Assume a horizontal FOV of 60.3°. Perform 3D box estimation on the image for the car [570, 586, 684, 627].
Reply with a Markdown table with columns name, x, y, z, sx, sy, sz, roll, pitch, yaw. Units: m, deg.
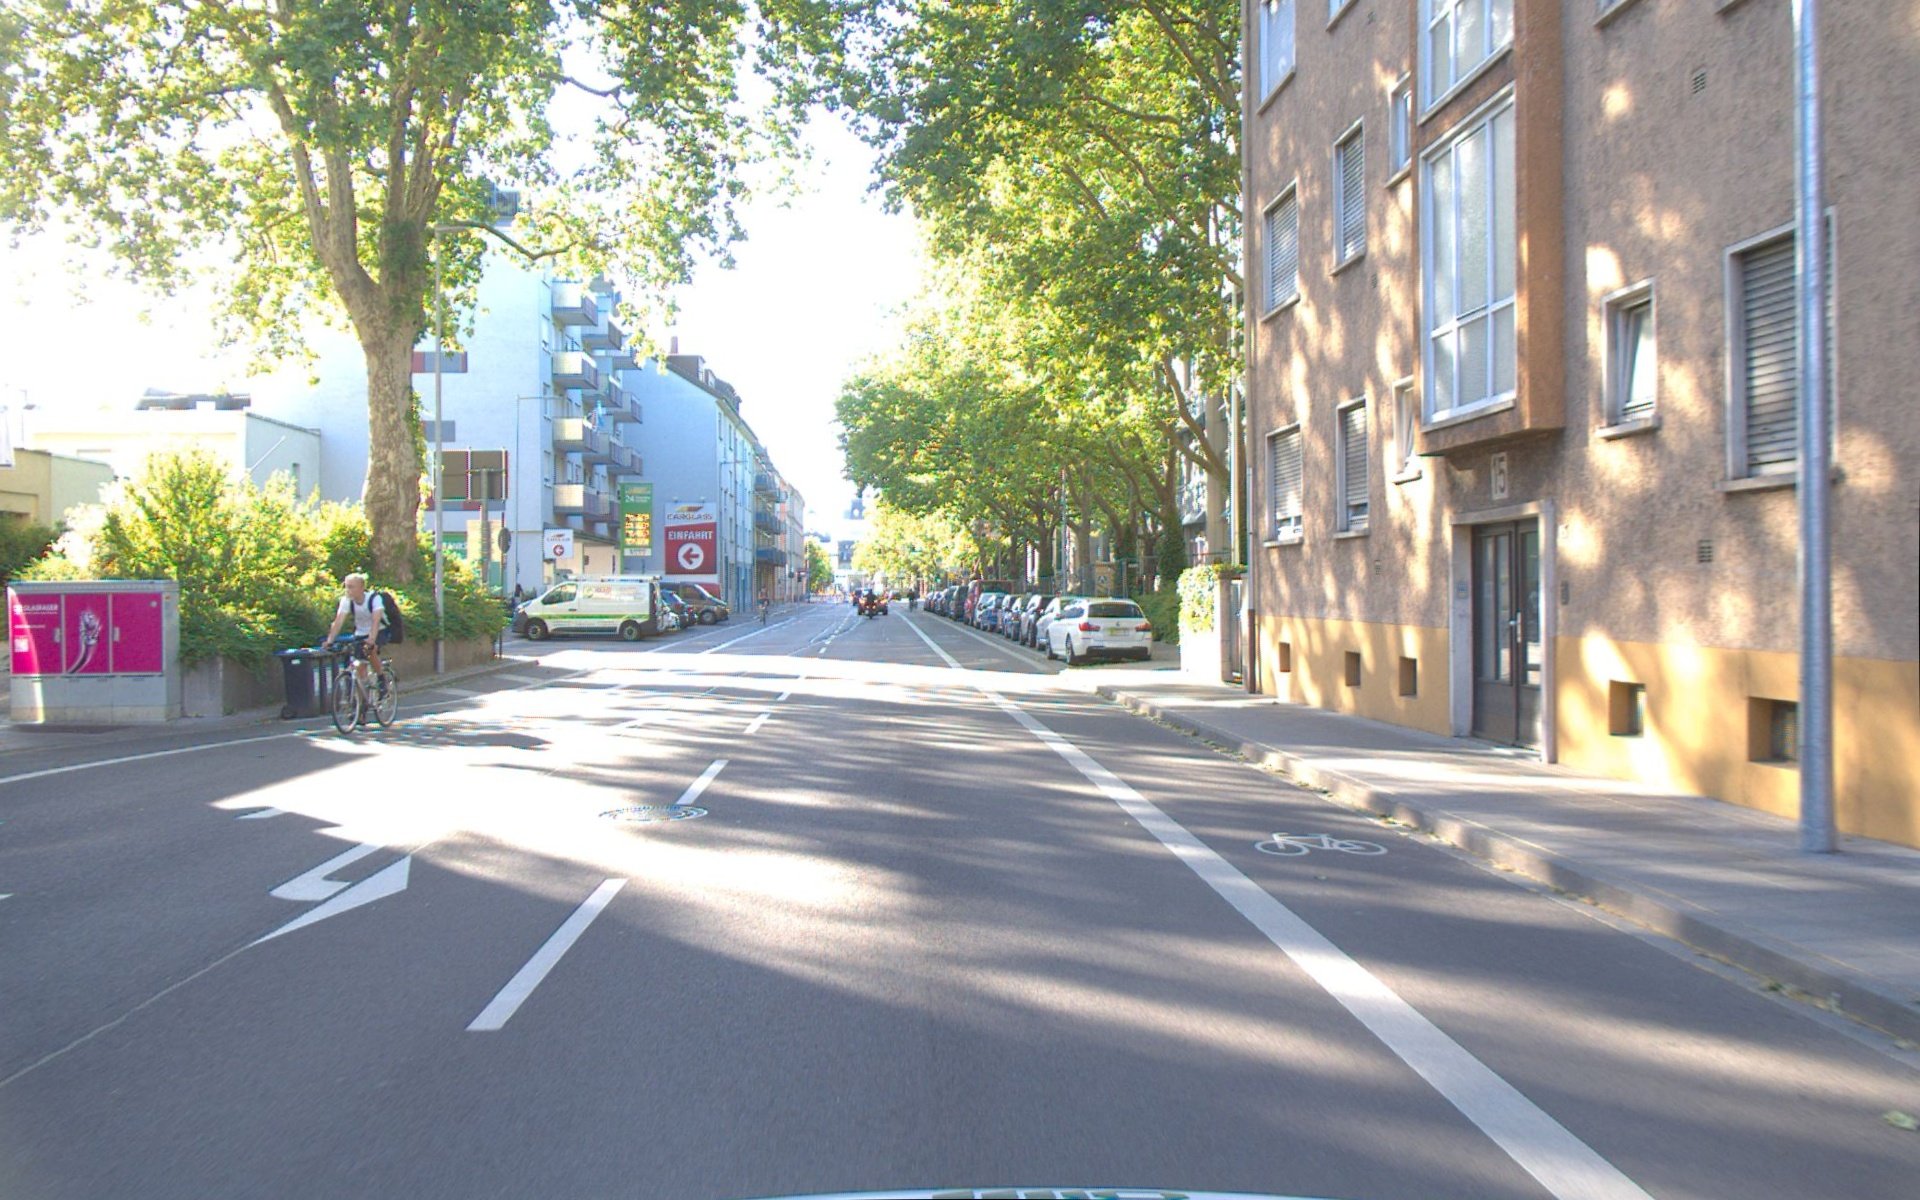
| name | x | y | z | sx | sy | sz | roll | pitch | yaw |
| --- | --- | --- | --- | --- | --- | --- | --- | --- | --- |
| car | -12.345 | 0.226 | 61.440 | 3.908 | 1.458 | 1.852 | 1 | 0 | -4 |

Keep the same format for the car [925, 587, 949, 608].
| name | x | y | z | sx | sy | sz | roll | pitch | yaw |
| --- | --- | --- | --- | --- | --- | --- | --- | --- | --- |
| car | -1.713 | -0.221 | 122.778 | 1.659 | 1.492 | 4.063 | 2 | 0 | -2 |

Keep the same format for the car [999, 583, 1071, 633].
| name | x | y | z | sx | sy | sz | roll | pitch | yaw |
| --- | --- | --- | --- | --- | --- | --- | --- | --- | --- |
| car | 2.445 | 0.240 | 55.039 | 1.818 | 1.549 | 4.595 | 1 | 0 | -4 |

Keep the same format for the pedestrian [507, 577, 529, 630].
| name | x | y | z | sx | sy | sz | roll | pitch | yaw |
| --- | --- | --- | --- | --- | --- | --- | --- | --- | --- |
| pedestrian | -15.322 | 0.107 | 57.343 | 0.619 | 1.820 | 0.722 | 0 | 1 | -4 |

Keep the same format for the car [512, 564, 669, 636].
| name | x | y | z | sx | sy | sz | roll | pitch | yaw |
| --- | --- | --- | --- | --- | --- | --- | --- | --- | --- |
| car | -12.167 | -0.003 | 54.742 | 4.748 | 2.255 | 2.138 | 1 | 0 | -4 |

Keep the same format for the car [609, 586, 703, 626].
| name | x | y | z | sx | sy | sz | roll | pitch | yaw |
| --- | --- | --- | --- | --- | --- | --- | --- | --- | --- |
| car | -12.680 | 0.243 | 69.077 | 3.612 | 1.540 | 1.829 | 2 | 0 | -4 |

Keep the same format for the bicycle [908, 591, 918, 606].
| name | x | y | z | sx | sy | sz | roll | pitch | yaw |
| --- | --- | --- | --- | --- | --- | --- | --- | --- | --- |
| bicycle | -3.459 | -0.077 | 121.771 | 0.643 | 1.089 | 1.925 | 1 | 0 | -4 |

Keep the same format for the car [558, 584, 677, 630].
| name | x | y | z | sx | sy | sz | roll | pitch | yaw |
| --- | --- | --- | --- | --- | --- | --- | --- | --- | --- |
| car | -12.249 | 0.234 | 59.317 | 3.908 | 1.586 | 1.852 | 1 | 1 | -4 |

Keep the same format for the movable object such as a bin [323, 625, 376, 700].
| name | x | y | z | sx | sy | sz | roll | pitch | yaw |
| --- | --- | --- | --- | --- | --- | --- | --- | --- | --- |
| movable object such as a bin | -9.189 | 0.929 | 24.912 | 0.582 | 1.090 | 0.644 | -1 | 0 | -3 |

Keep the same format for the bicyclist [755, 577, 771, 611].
| name | x | y | z | sx | sy | sz | roll | pitch | yaw |
| --- | --- | --- | --- | --- | --- | --- | --- | --- | --- |
| bicyclist | -9.117 | -0.286 | 76.487 | 0.595 | 1.571 | 0.933 | -2 | 1 | -4 |

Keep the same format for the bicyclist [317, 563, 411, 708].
| name | x | y | z | sx | sy | sz | roll | pitch | yaw |
| --- | --- | --- | --- | --- | --- | --- | --- | --- | --- |
| bicyclist | -7.096 | 0.411 | 19.745 | 0.714 | 1.670 | 1.167 | -1 | 0 | -2 |

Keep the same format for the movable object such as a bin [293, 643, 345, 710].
| name | x | y | z | sx | sy | sz | roll | pitch | yaw |
| --- | --- | --- | --- | --- | --- | --- | --- | --- | --- |
| movable object such as a bin | -9.153 | 1.085 | 23.627 | 0.530 | 0.917 | 0.559 | -1 | 0 | -3 |

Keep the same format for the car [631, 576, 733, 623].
| name | x | y | z | sx | sy | sz | roll | pitch | yaw |
| --- | --- | --- | --- | --- | --- | --- | --- | --- | --- |
| car | -12.925 | -0.017 | 77.104 | 4.433 | 1.986 | 2.055 | 2 | 0 | -4 |

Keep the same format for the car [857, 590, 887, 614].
| name | x | y | z | sx | sy | sz | roll | pitch | yaw |
| --- | --- | --- | --- | --- | --- | --- | --- | --- | --- |
| car | -5.415 | 0.116 | 101.577 | 1.792 | 1.445 | 3.812 | 0 | 0 | -4 |

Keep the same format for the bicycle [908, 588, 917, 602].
| name | x | y | z | sx | sy | sz | roll | pitch | yaw |
| --- | --- | --- | --- | --- | --- | --- | --- | --- | --- |
| bicycle | -3.712 | -0.384 | 129.722 | 0.643 | 1.131 | 2.184 | 1 | 0 | -4 |

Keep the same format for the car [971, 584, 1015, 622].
| name | x | y | z | sx | sy | sz | roll | pitch | yaw |
| --- | --- | --- | --- | --- | --- | --- | --- | --- | --- |
| car | 1.367 | 0.117 | 69.537 | 1.605 | 1.511 | 3.758 | 2 | 0 | -2 |

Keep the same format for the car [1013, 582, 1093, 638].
| name | x | y | z | sx | sy | sz | roll | pitch | yaw |
| --- | --- | --- | --- | --- | --- | --- | --- | --- | --- |
| car | 2.693 | 0.276 | 48.887 | 1.818 | 1.549 | 4.293 | 1 | 0 | -4 |

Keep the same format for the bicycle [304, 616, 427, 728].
| name | x | y | z | sx | sy | sz | roll | pitch | yaw |
| --- | --- | --- | --- | --- | --- | --- | --- | --- | --- |
| bicycle | -7.097 | 0.831 | 19.870 | 0.714 | 1.220 | 2.178 | -2 | 0 | -2 |

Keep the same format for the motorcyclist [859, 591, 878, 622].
| name | x | y | z | sx | sy | sz | roll | pitch | yaw |
| --- | --- | --- | --- | --- | --- | --- | --- | --- | --- |
| motorcyclist | -4.887 | 0.340 | 87.992 | 0.992 | 1.630 | 1.405 | -1 | 0 | -4 |

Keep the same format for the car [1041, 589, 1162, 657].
| name | x | y | z | sx | sy | sz | roll | pitch | yaw |
| --- | --- | --- | --- | --- | --- | --- | --- | --- | --- |
| car | 3.153 | 0.482 | 37.775 | 1.819 | 1.462 | 4.963 | 0 | 0 | -7 |

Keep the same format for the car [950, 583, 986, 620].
| name | x | y | z | sx | sy | sz | roll | pitch | yaw |
| --- | --- | --- | --- | --- | --- | --- | --- | --- | --- |
| car | 0.381 | 0.073 | 85.647 | 1.659 | 1.844 | 4.128 | 2 | 0 | -2 |

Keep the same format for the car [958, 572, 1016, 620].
| name | x | y | z | sx | sy | sz | roll | pitch | yaw |
| --- | --- | --- | --- | --- | --- | --- | --- | --- | --- |
| car | 1.189 | -0.199 | 74.582 | 2.038 | 2.029 | 5.166 | 1 | 0 | -5 |

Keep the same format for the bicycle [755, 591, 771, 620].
| name | x | y | z | sx | sy | sz | roll | pitch | yaw |
| --- | --- | --- | --- | --- | --- | --- | --- | --- | --- |
| bicycle | -9.070 | 0.250 | 76.174 | 0.595 | 1.261 | 2.048 | -2 | 1 | -3 |

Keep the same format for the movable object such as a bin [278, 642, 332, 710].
| name | x | y | z | sx | sy | sz | roll | pitch | yaw |
| --- | --- | --- | --- | --- | --- | --- | --- | --- | --- |
| movable object such as a bin | -9.120 | 1.050 | 23.036 | 0.530 | 0.917 | 0.603 | -1 | 0 | -3 |

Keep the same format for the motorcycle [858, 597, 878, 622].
| name | x | y | z | sx | sy | sz | roll | pitch | yaw |
| --- | --- | --- | --- | --- | --- | --- | --- | --- | --- |
| motorcycle | -4.884 | 0.498 | 87.889 | 0.992 | 1.329 | 2.670 | -1 | 0 | -4 |

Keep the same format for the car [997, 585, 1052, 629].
| name | x | y | z | sx | sy | sz | roll | pitch | yaw |
| --- | --- | --- | --- | --- | --- | --- | --- | --- | --- |
| car | 2.345 | 0.244 | 60.779 | 1.582 | 1.501 | 3.490 | 2 | 0 | -4 |

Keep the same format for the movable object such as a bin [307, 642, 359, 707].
| name | x | y | z | sx | sy | sz | roll | pitch | yaw |
| --- | --- | --- | --- | --- | --- | --- | --- | --- | --- |
| movable object such as a bin | -9.190 | 1.088 | 24.243 | 0.530 | 0.917 | 0.644 | -1 | 0 | -3 |

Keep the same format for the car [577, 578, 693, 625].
| name | x | y | z | sx | sy | sz | roll | pitch | yaw |
| --- | --- | --- | --- | --- | --- | --- | --- | --- | --- |
| car | -12.535 | 0.050 | 63.999 | 4.111 | 1.713 | 2.027 | 1 | 0 | -4 |

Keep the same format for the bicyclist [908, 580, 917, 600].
| name | x | y | z | sx | sy | sz | roll | pitch | yaw |
| --- | --- | --- | --- | --- | --- | --- | --- | --- | --- |
| bicyclist | -3.706 | -0.760 | 129.787 | 0.643 | 1.557 | 0.905 | 1 | 0 | -4 |

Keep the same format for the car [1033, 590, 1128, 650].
| name | x | y | z | sx | sy | sz | roll | pitch | yaw |
| --- | --- | --- | --- | --- | --- | --- | --- | --- | --- |
| car | 3.095 | 0.480 | 43.276 | 1.818 | 1.462 | 4.599 | 1 | 0 | -4 |

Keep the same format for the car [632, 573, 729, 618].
| name | x | y | z | sx | sy | sz | roll | pitch | yaw |
| --- | --- | --- | --- | --- | --- | --- | --- | --- | --- |
| car | -13.454 | -0.223 | 79.929 | 4.333 | 1.986 | 2.145 | 2 | 0 | -4 |

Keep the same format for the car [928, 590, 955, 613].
| name | x | y | z | sx | sy | sz | roll | pitch | yaw |
| --- | --- | --- | --- | --- | --- | --- | --- | --- | --- |
| car | -1.299 | 0.090 | 116.906 | 1.659 | 1.505 | 4.315 | 2 | 0 | -3 |

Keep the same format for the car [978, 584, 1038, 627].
| name | x | y | z | sx | sy | sz | roll | pitch | yaw |
| --- | --- | --- | --- | --- | --- | --- | --- | --- | --- |
| car | 1.847 | 0.195 | 65.108 | 1.819 | 1.537 | 3.924 | 2 | 1 | -6 |

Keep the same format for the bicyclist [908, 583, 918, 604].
| name | x | y | z | sx | sy | sz | roll | pitch | yaw |
| --- | --- | --- | --- | --- | --- | --- | --- | --- | --- |
| bicyclist | -3.452 | -0.493 | 121.773 | 0.643 | 1.557 | 0.851 | 1 | 0 | -4 |

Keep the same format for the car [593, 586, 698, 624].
| name | x | y | z | sx | sy | sz | roll | pitch | yaw |
| --- | --- | --- | --- | --- | --- | --- | --- | --- | --- |
| car | -12.613 | 0.189 | 66.583 | 3.908 | 1.481 | 1.915 | 1 | 0 | -4 |
